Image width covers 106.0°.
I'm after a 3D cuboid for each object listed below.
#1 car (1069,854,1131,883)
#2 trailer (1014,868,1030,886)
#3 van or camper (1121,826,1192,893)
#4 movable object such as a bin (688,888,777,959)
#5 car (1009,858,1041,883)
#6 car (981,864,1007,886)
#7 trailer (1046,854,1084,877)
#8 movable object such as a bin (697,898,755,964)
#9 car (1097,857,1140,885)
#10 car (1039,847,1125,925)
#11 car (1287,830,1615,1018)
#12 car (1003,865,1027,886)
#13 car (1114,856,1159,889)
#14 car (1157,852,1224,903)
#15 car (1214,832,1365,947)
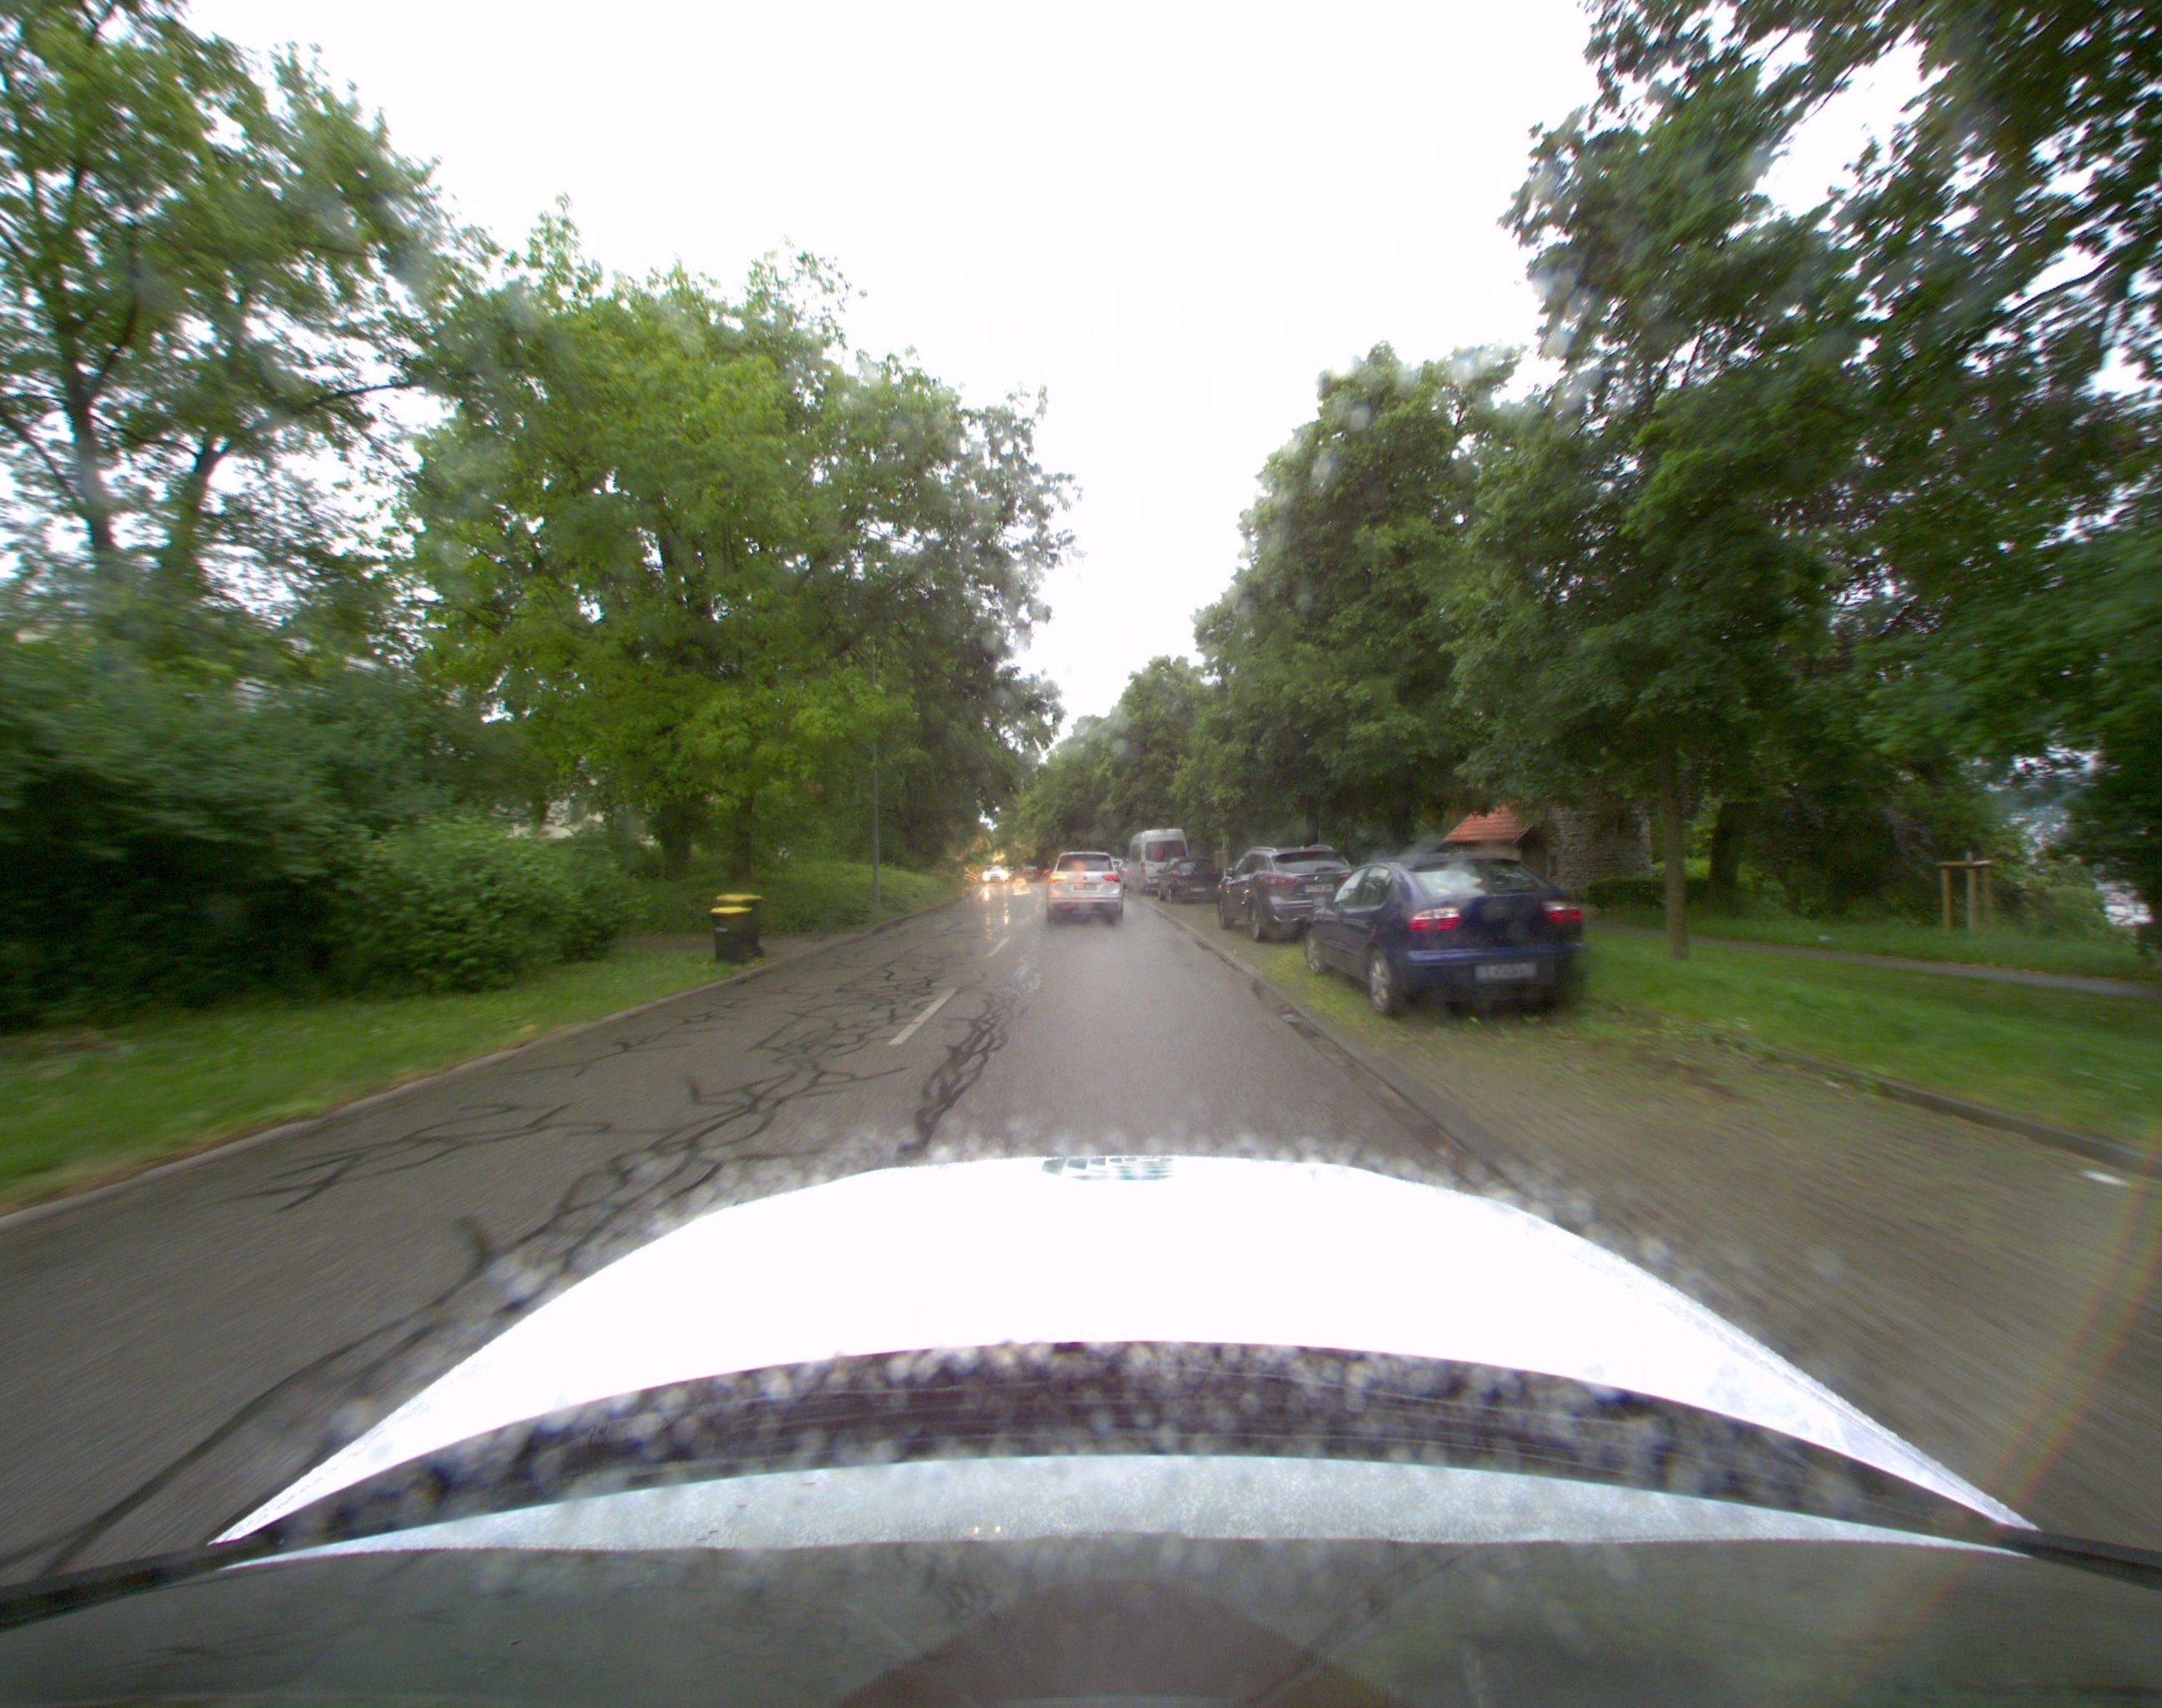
[{"bbox_3d":[1.227,0.966,54.073,3.956,1.681,1.621,-4,-2,42],"label":"car"},{"bbox_3d":[-7.427,2.958,102.312,1.531,2.076,3.983,-3,-3,-11],"label":"trailer"},{"bbox_3d":[3.152,0.186,35.813,2.011,2.583,8.428,0,0,-2],"label":"van or camper"},{"bbox_3d":[-5.831,1.140,13.684,1.033,1.105,0.967,0,0,2],"label":"movable object such as a bin"},{"bbox_3d":[-4.790,1.370,69.429,1.997,2.013,3.980,-1,1,-15],"label":"car"},{"bbox_3d":[-6.451,1.547,60.801,1.662,1.477,3.726,-4,0,-4],"label":"car"},{"bbox_3d":[-1.461,1.049,71.267,2.450,1.813,5.870,-2,-2,-10],"label":"trailer"},{"bbox_3d":[-5.607,1.205,12.881,0.645,0.979,0.578,0,0,2],"label":"movable object such as a bin"},{"bbox_3d":[2.203,0.970,48.844,1.990,1.497,4.559,-2,0,-4],"label":"car"},{"bbox_3d":[-0.006,0.711,20.529,1.900,1.685,4.199,-2,0,-1],"label":"car"},{"bbox_3d":[3.494,0.559,8.589,1.736,1.452,4.003,-2,0,2],"label":"car"},{"bbox_3d":[-6.821,2.189,84.242,1.994,2.013,3.985,-1,1,-11],"label":"car"},{"bbox_3d":[2.787,0.901,41.743,1.800,1.539,4.264,-3,0,-2],"label":"car"},{"bbox_3d":[3.608,0.729,27.416,1.858,1.511,3.727,-2,0,2],"label":"car"},{"bbox_3d":[3.620,0.549,14.910,1.774,1.719,4.264,-3,0,2],"label":"car"}]
